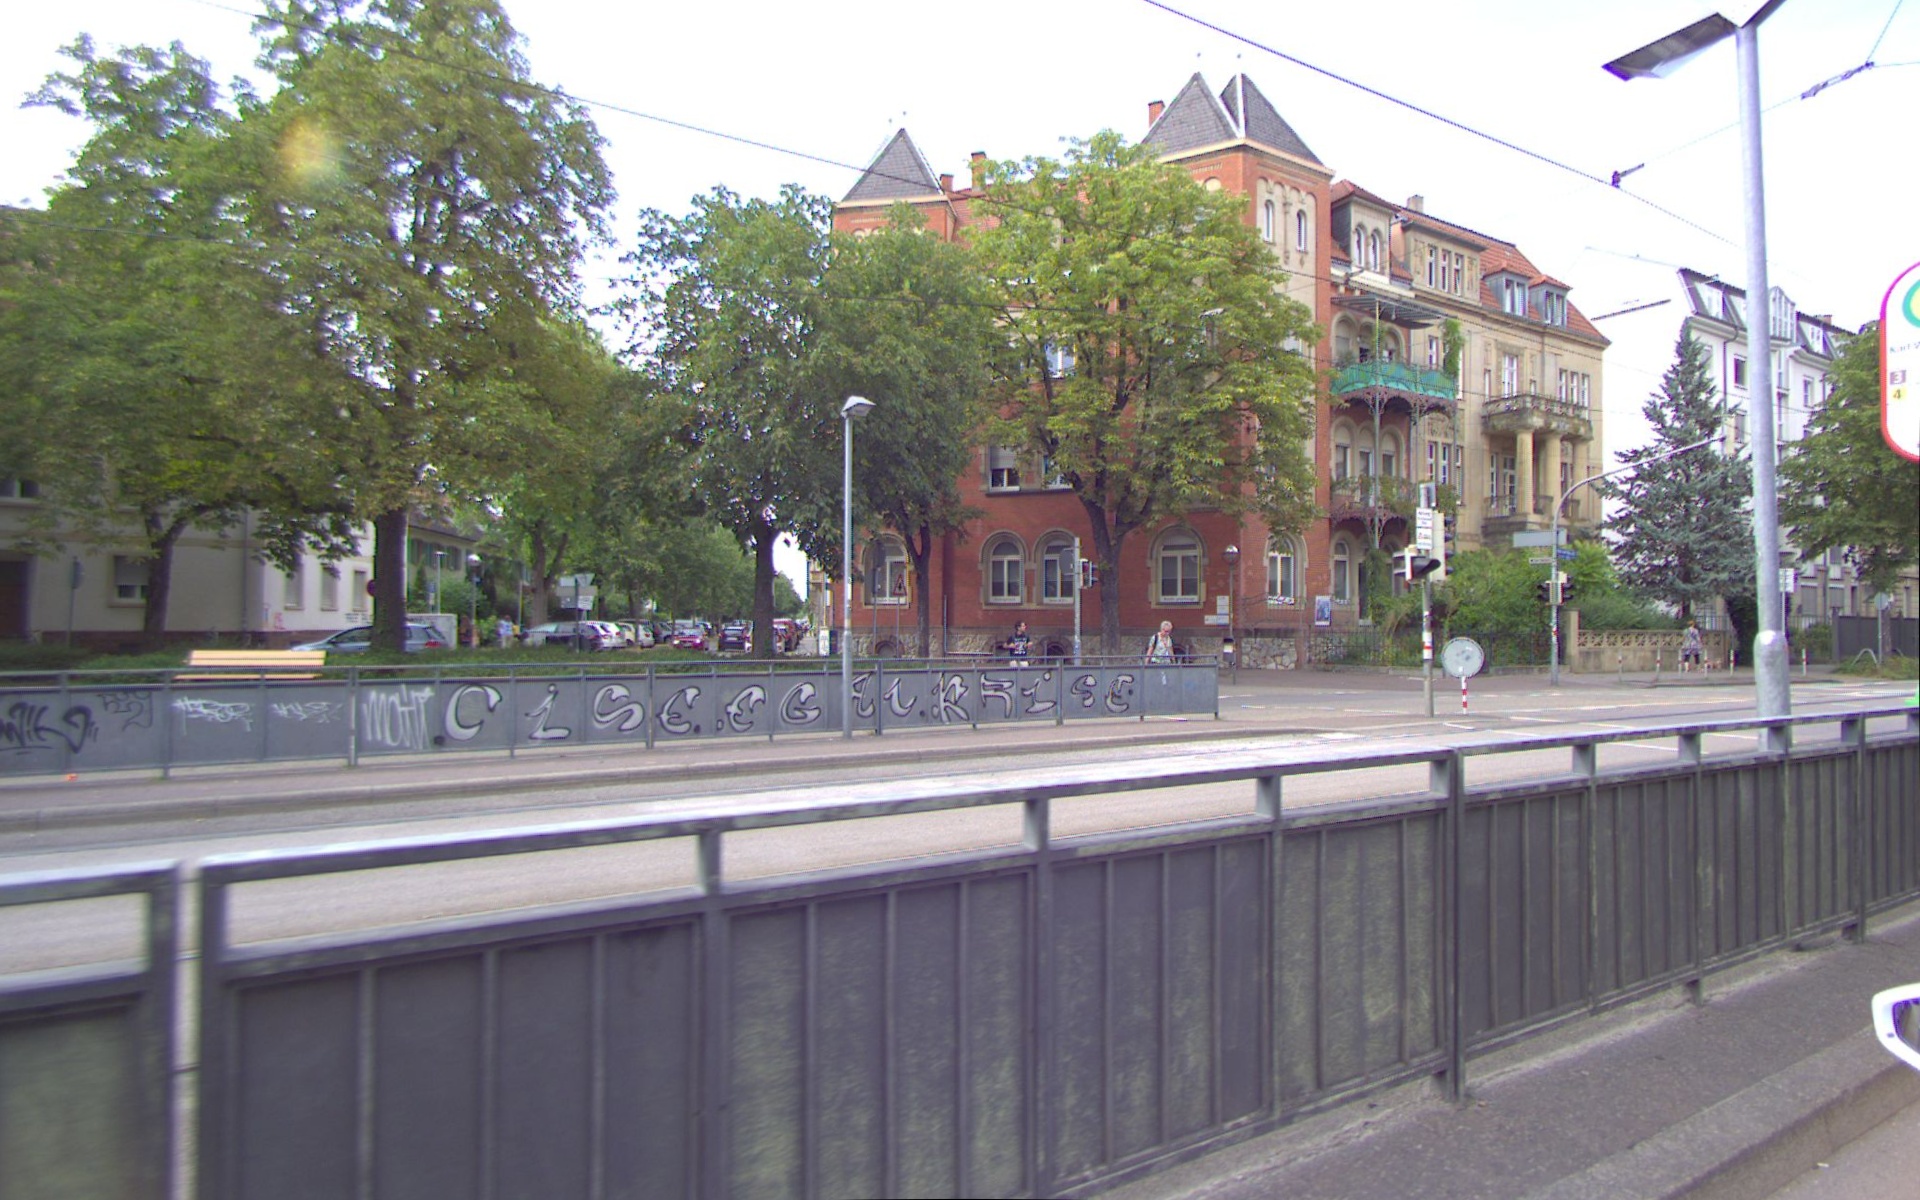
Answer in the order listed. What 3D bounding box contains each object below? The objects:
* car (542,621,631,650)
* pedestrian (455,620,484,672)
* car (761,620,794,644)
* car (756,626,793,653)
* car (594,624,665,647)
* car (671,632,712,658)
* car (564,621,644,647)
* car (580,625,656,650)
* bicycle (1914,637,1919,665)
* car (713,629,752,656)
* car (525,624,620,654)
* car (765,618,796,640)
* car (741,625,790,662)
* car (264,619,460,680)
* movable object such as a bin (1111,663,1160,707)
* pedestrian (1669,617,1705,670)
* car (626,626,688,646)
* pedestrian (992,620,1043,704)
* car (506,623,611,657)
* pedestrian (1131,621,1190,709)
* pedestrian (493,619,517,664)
[{"bbox_3d":[-19.001,1.800,51.254,3.926,1.414,1.813,0,-2,-8],"label":"car"},{"bbox_3d":[-16.988,1.569,34.781,0.720,1.777,0.752,0,-1,-12],"label":"pedestrian"},{"bbox_3d":[-11.177,1.988,61.805,1.782,1.414,3.996,0,-2,-7],"label":"car"},{"bbox_3d":[-10.344,2.195,56.328,1.782,1.414,3.996,0,-2,-7],"label":"car"},{"bbox_3d":[-20.594,2.203,62.681,3.926,1.414,1.813,0,-2,-8],"label":"car"},{"bbox_3d":[-15.782,2.637,59.218,1.782,1.497,3.996,0,-2,-7],"label":"car"},{"bbox_3d":[-19.919,1.922,56.361,3.926,1.414,1.813,0,-2,-8],"label":"car"},{"bbox_3d":[-20.028,2.199,59.019,3.926,1.414,1.813,0,-2,-8],"label":"car"},{"bbox_3d":[39.905,2.066,40.730,1.639,1.134,0.573,-1,-1,21],"label":"bicycle"},{"bbox_3d":[-13.263,2.451,58.725,1.782,1.497,3.996,0,-2,-7],"label":"car"},{"bbox_3d":[-18.696,1.874,48.594,3.926,1.414,1.813,0,-2,-8],"label":"car"},{"bbox_3d":[-11.897,1.897,66.781,1.782,1.414,3.996,0,-2,-7],"label":"car"},{"bbox_3d":[-8.344,1.837,43.266,1.782,1.497,3.996,0,-2,-7],"label":"car"},{"bbox_3d":[-16.559,1.346,28.083,4.279,1.599,2.204,1,-1,-18],"label":"car"},{"bbox_3d":[3.430,1.647,19.652,0.616,0.810,0.723,1,-2,-35],"label":"movable object such as a bin"},{"bbox_3d":[24.847,1.476,34.332,0.825,1.807,0.727,1,-1,-30],"label":"pedestrian"},{"bbox_3d":[-21.437,2.567,71.213,3.926,1.414,1.813,0,-2,-8],"label":"car"},{"bbox_3d":[1.222,1.302,21.380,0.725,1.725,0.827,1,-1,-35],"label":"pedestrian"},{"bbox_3d":[-17.422,1.728,43.746,3.926,1.414,1.813,0,-2,-8],"label":"car"},{"bbox_3d":[3.873,1.239,19.410,0.737,1.654,0.863,1,-1,-35],"label":"pedestrian"},{"bbox_3d":[-18.175,1.645,40.116,0.671,1.777,0.731,0,-1,-9],"label":"pedestrian"}]
